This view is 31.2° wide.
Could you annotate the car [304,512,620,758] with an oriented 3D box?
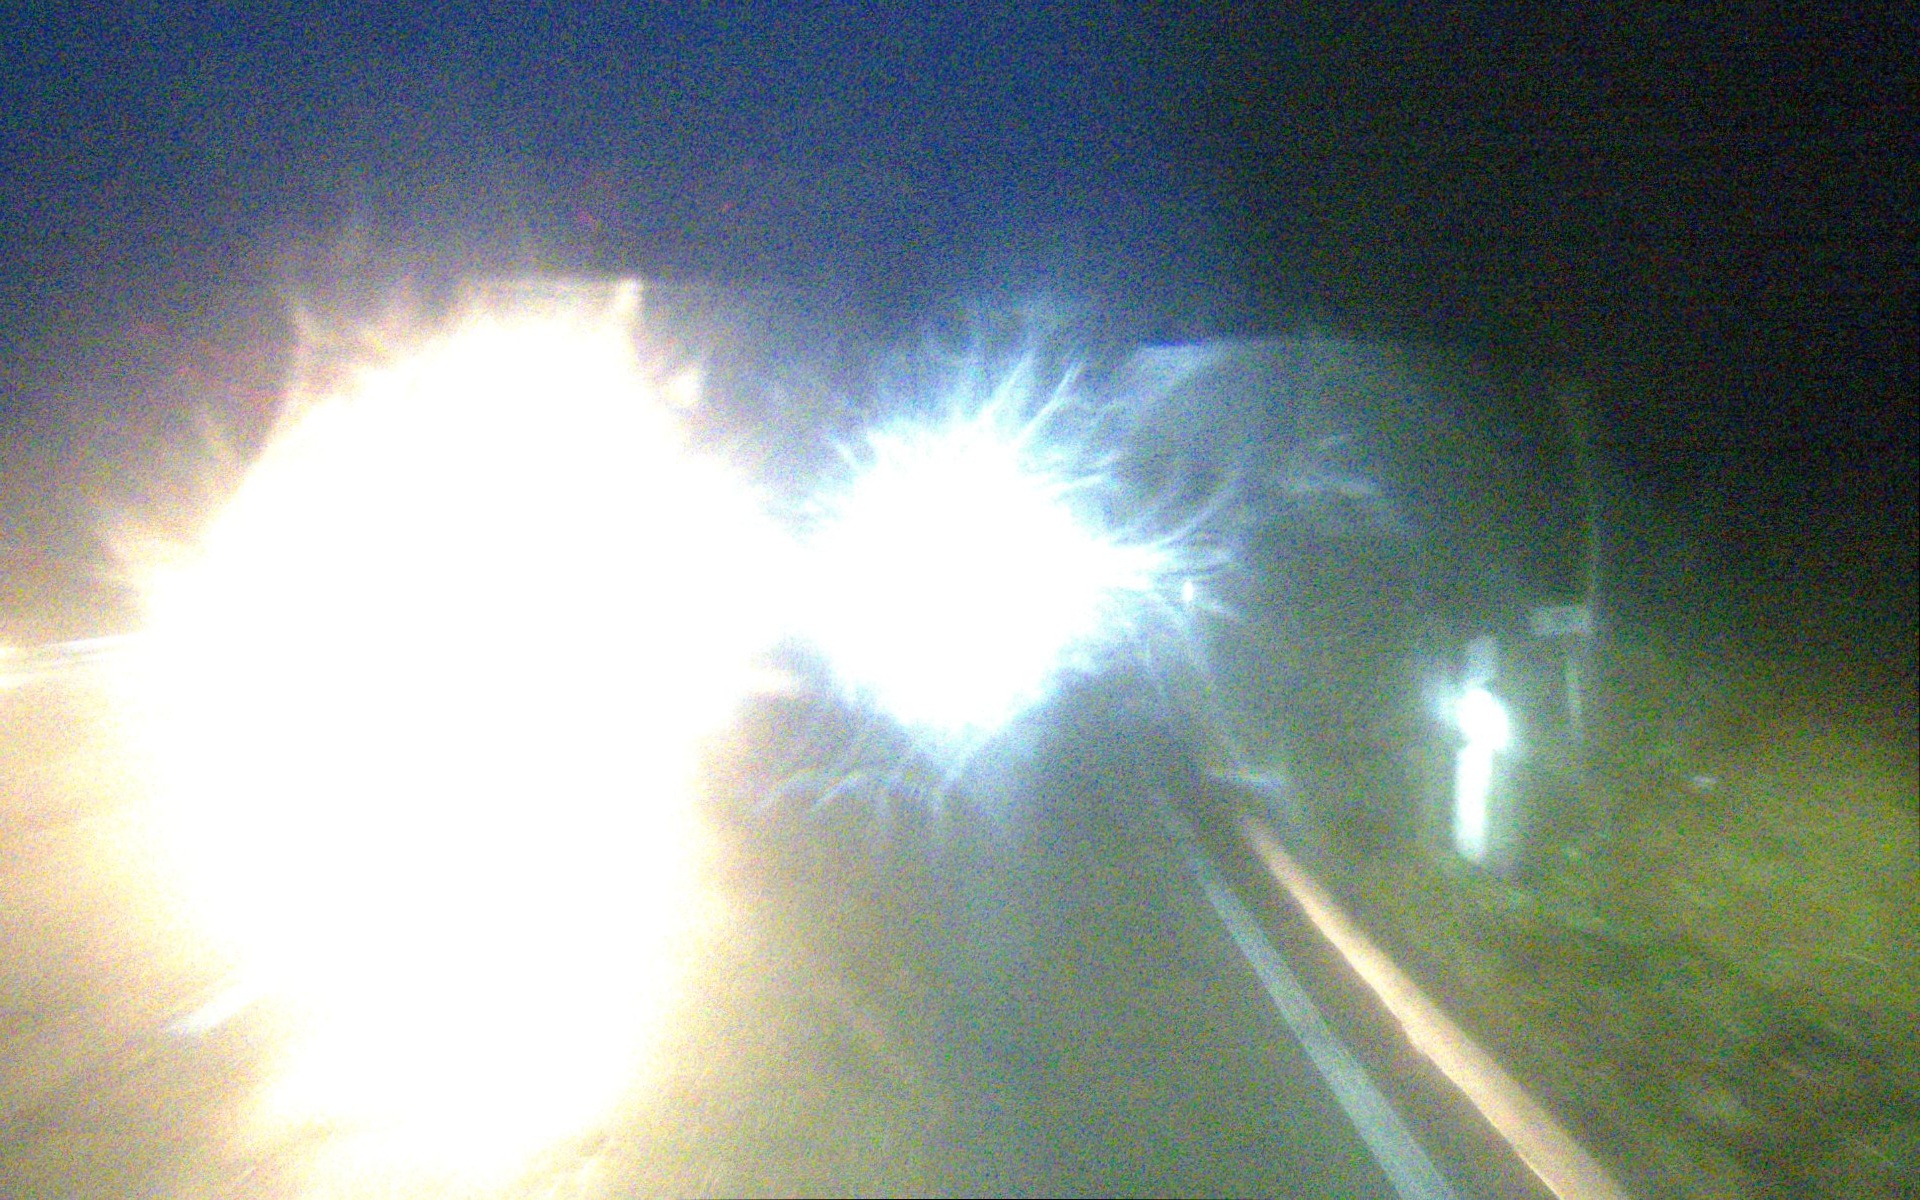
[{"bbox_3d":[-3.907,0.211,27.615,1.993,1.650,4.001,-4,2,-2],"label":"car"}]
